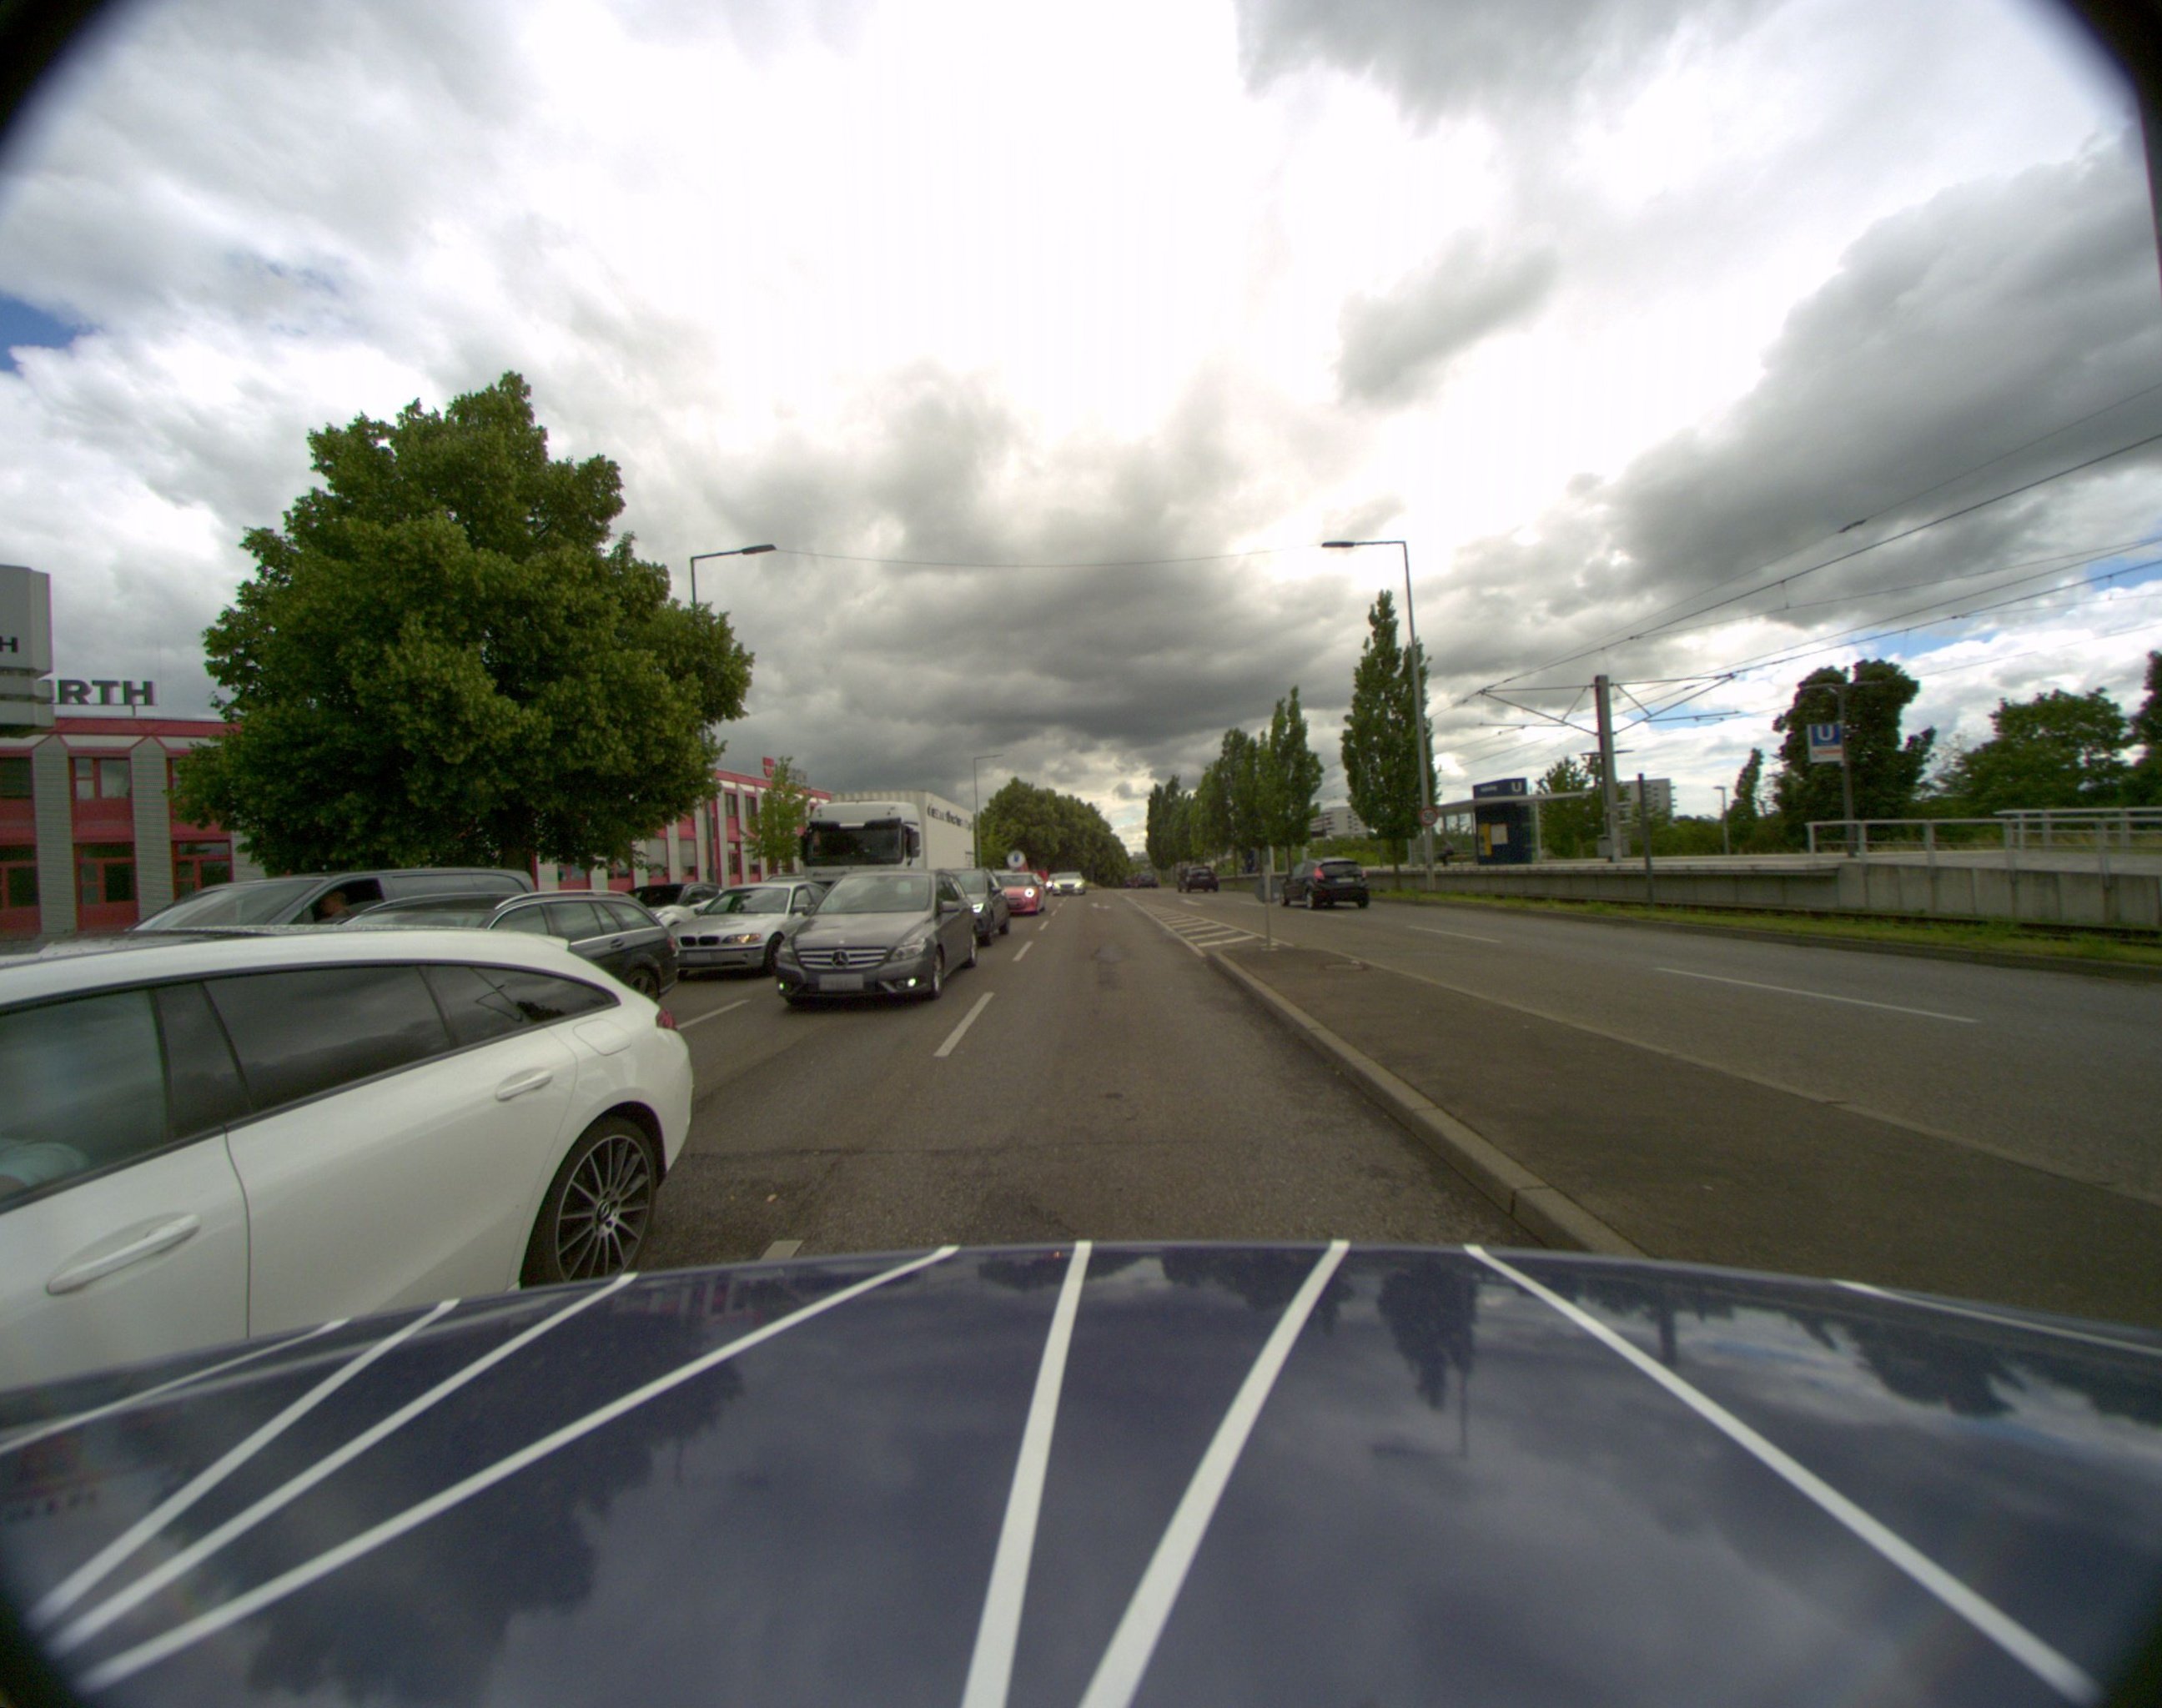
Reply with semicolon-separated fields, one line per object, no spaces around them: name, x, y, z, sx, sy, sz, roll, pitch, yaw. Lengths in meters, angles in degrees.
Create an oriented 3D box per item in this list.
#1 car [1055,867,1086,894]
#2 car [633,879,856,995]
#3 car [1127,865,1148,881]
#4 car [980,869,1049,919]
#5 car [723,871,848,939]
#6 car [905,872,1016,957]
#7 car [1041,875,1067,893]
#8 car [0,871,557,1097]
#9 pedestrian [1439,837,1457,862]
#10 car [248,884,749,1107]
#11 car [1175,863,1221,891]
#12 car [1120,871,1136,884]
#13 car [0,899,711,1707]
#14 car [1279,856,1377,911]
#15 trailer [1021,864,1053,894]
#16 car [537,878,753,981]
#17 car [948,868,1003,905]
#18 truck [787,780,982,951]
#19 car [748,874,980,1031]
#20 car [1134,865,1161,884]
car;-0.601;1.621;47.025;1.804;1.403;4.317;-2;1;1
car;-5.351;1.242;12.812;1.750;1.374;4.290;-2;1;1
car;5.693;1.935;77.181;1.700;1.440;3.934;-2;0;-1
car;-2.149;1.278;25.381;1.825;1.497;3.495;-2;-1;2
car;-8.441;1.398;22.153;1.865;1.648;4.209;-4;-1;1
car;-2.402;1.162;16.004;1.628;1.484;3.838;-2;-1;1
car;-2.158;2.393;61.306;1.804;1.403;4.318;-2;-1;1
car;-8.775;1.191;8.951;1.763;1.765;4.675;-2;1;2
pedestrian;17.737;-0.224;36.720;0.601;1.148;0.447;-2;1;1
car;-5.321;1.151;7.875;1.750;1.476;4.356;-2;0;1
car;6.511;1.245;42.617;1.700;1.440;3.934;-2;-1;-3
car;6.168;3.049;100.355;1.700;1.440;3.933;-4;1;-1
car;-2.689;1.015;1.229;1.849;1.498;4.530;-2;1;1
car;7.214;0.809;22.540;1.700;1.440;3.660;-2;0;0
trailer;-2.980;1.684;52.093;1.775;1.651;3.994;-2;4;1
car;-8.589;1.403;15.479;1.844;1.507;4.106;-6;0;1
car;-4.824;1.460;35.213;1.851;1.521;4.377;-2;-1;0
truck;-5.239;0.283;22.803;2.809;3.880;10.182;-2;0;2
car;-2.506;1.066;9.846;1.750;1.499;4.048;-2;-1;1
car;5.636;1.751;64.844;1.813;1.440;3.934;-2;0;-1
